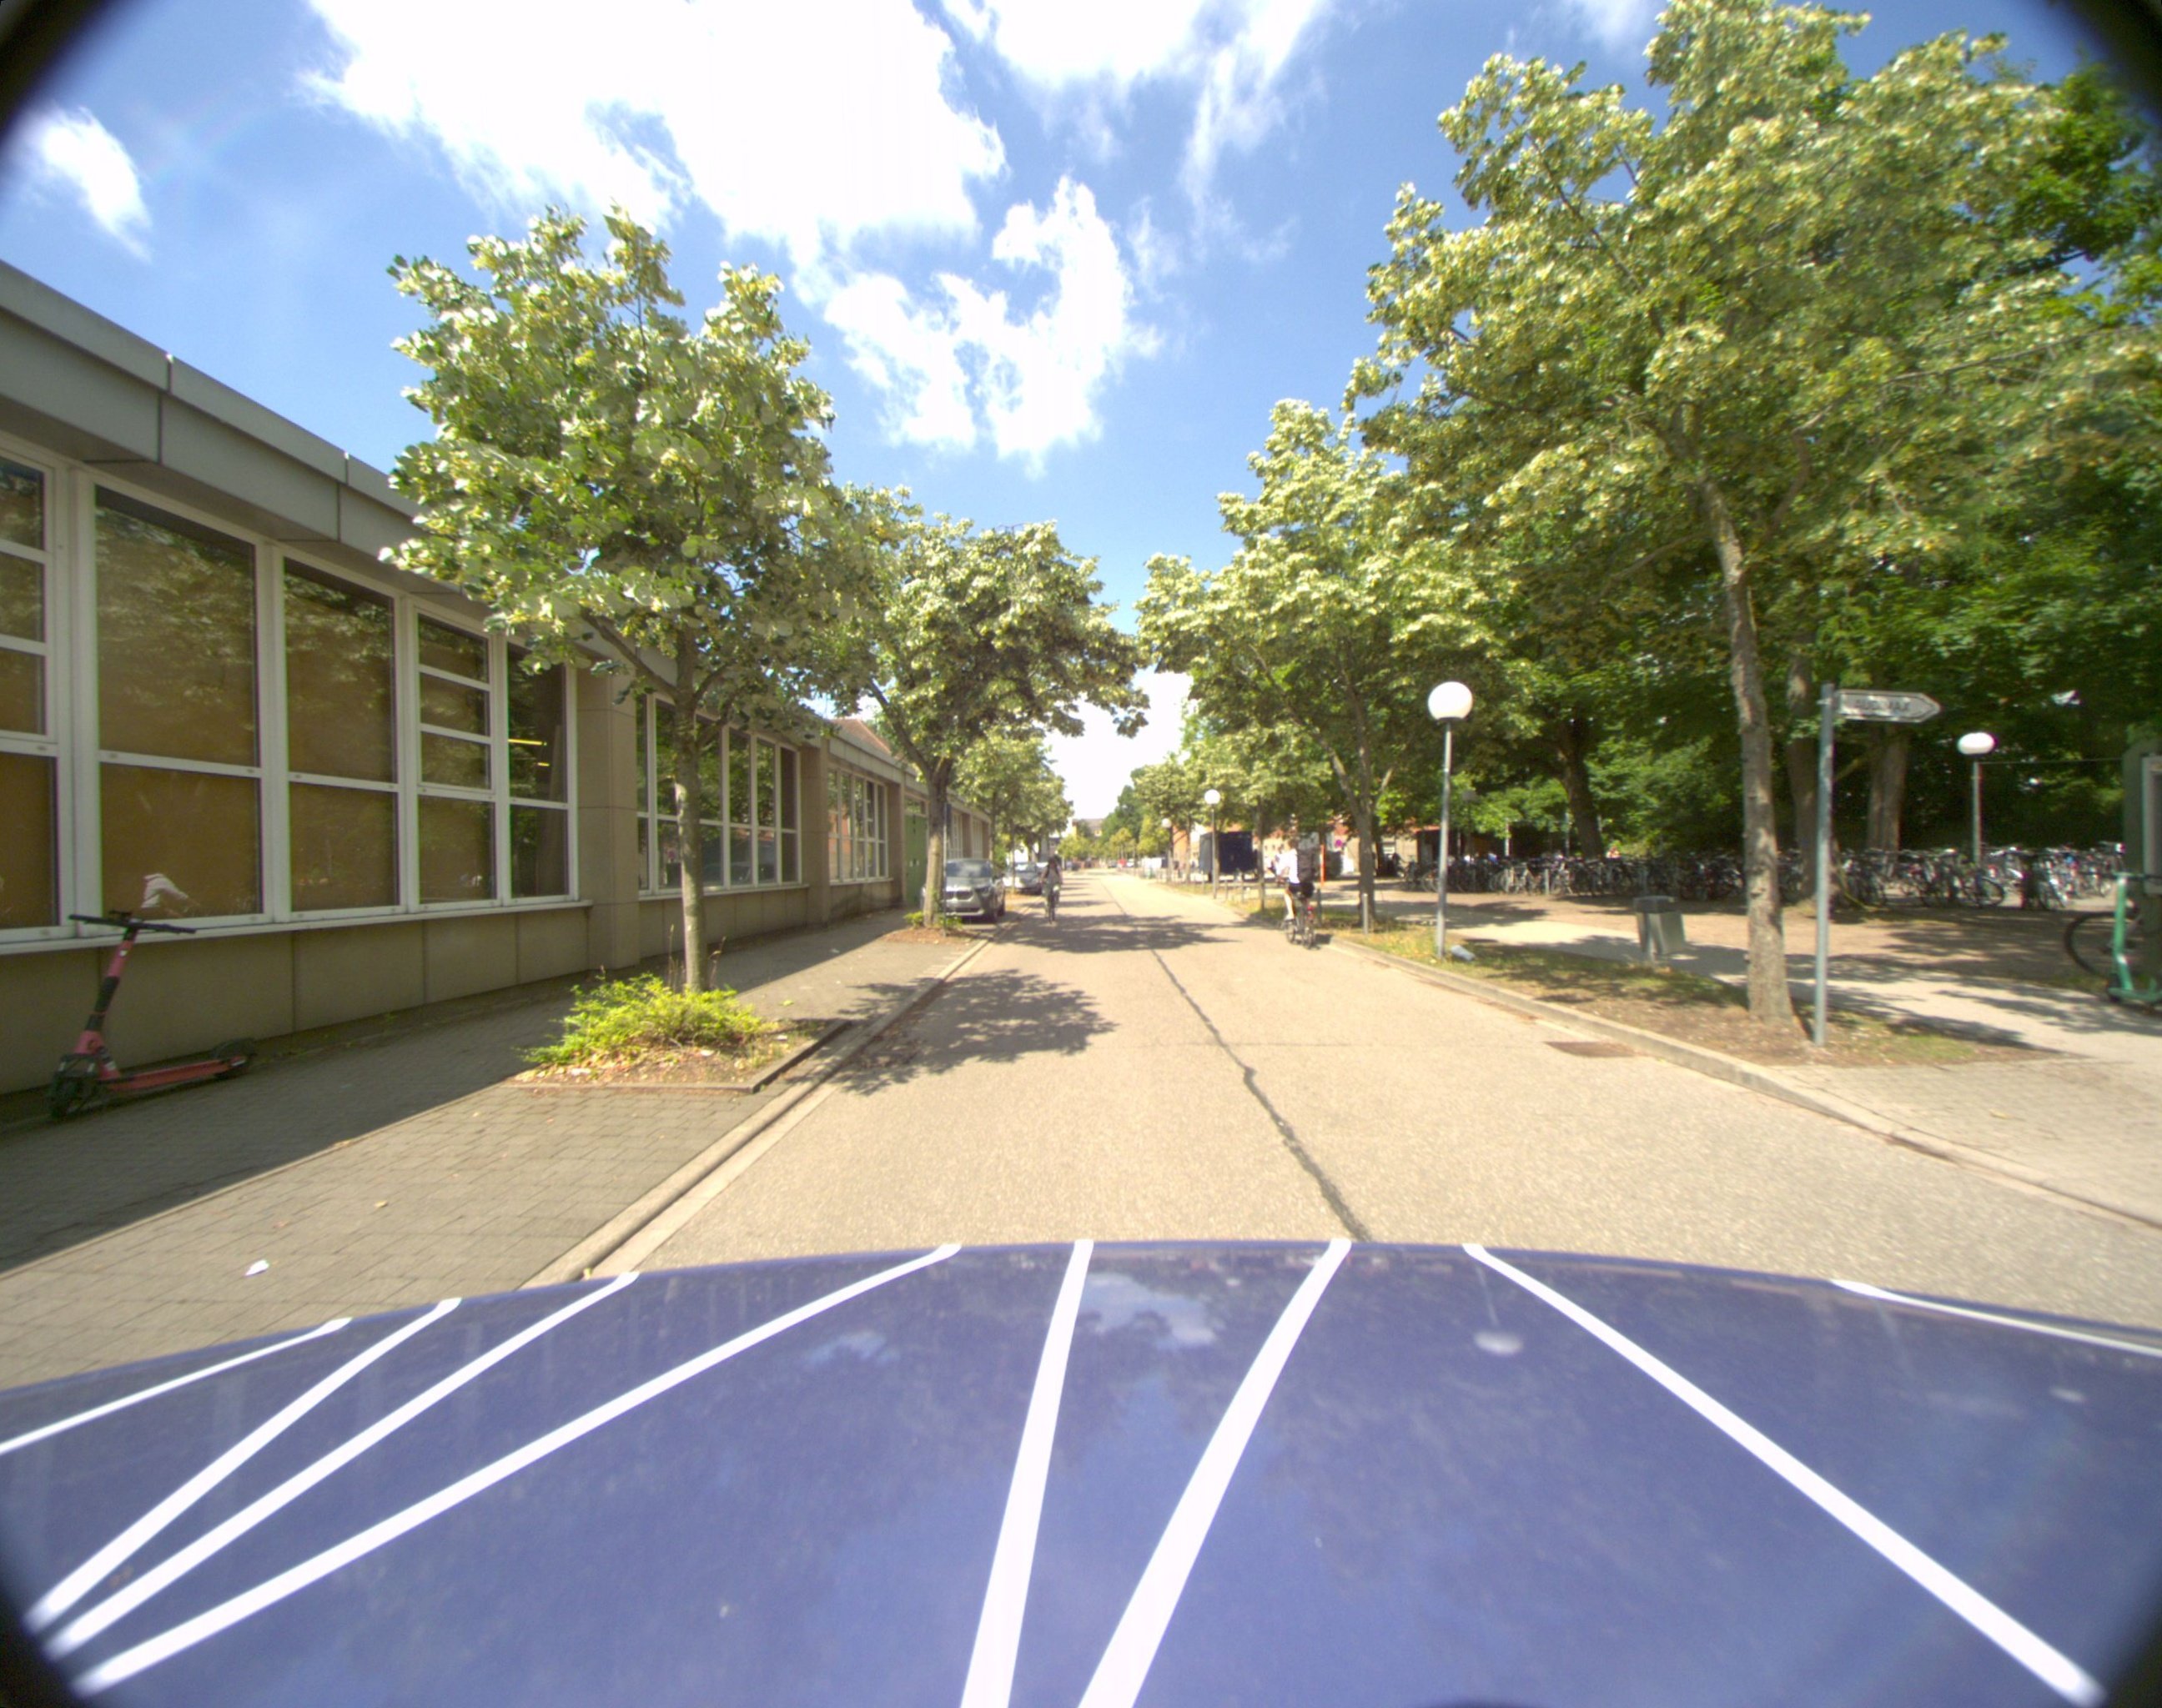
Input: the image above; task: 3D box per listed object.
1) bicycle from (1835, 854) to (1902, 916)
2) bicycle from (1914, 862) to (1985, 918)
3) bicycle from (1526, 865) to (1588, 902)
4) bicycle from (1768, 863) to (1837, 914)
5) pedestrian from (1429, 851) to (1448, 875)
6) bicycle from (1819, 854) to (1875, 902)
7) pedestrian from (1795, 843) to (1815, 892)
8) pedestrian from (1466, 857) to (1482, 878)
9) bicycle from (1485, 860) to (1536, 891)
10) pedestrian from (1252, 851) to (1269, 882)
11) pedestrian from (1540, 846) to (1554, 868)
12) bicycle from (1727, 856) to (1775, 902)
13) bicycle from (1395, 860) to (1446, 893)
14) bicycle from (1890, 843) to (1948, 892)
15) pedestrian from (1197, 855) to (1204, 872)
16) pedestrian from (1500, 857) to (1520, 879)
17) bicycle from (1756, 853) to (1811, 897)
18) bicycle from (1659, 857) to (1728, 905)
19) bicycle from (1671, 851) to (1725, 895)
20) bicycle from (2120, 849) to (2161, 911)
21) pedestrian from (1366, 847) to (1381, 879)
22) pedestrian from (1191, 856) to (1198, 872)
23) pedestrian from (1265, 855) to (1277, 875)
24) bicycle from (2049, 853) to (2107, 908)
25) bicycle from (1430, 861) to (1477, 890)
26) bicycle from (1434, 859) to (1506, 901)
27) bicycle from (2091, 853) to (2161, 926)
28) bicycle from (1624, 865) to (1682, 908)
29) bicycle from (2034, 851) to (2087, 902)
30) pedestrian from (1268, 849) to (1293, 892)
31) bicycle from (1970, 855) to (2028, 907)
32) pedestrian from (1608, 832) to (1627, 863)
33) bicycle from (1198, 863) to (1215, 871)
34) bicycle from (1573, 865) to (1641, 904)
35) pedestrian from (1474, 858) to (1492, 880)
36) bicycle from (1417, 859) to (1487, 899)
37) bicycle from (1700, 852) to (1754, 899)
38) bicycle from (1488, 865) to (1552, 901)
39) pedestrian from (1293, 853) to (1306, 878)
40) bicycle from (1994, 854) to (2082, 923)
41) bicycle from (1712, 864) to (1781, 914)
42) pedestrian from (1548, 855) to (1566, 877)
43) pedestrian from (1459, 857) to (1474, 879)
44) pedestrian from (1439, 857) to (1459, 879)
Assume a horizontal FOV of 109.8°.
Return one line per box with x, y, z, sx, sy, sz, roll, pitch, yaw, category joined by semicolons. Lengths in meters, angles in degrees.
17.217;0.642;16.583;2.914;1.213;0.880;-1;0;-42;bicycle
17.793;0.697;15.593;2.739;0.997;0.880;-1;-1;-42;bicycle
13.831;0.842;22.078;1.895;1.002;0.676;-1;0;-29;bicycle
16.429;0.746;17.268;2.789;1.009;0.880;-1;-1;-42;bicycle
20.965;0.514;44.519;0.596;1.361;0.741;-1;-2;-34;pedestrian
19.820;0.599;19.646;2.064;1.151;0.638;-1;-1;-34;bicycle
24.041;0.436;25.223;0.462;1.605;0.350;-2;0;-35;pedestrian
23.600;0.811;45.596;0.561;1.264;0.693;-2;0;1;pedestrian
16.099;0.810;28.476;1.863;1.083;0.546;-2;0;-20;bicycle
11.482;0.783;48.691;0.919;1.943;0.893;-3;0;10;pedestrian
25.032;0.159;40.822;0.336;1.133;0.506;-2;0;-10;pedestrian
18.694;0.684;21.183;2.063;1.126;0.478;-4;1;-34;bicycle
12.086;0.794;27.030;1.780;1.125;0.458;-2;0;-17;bicycle
20.537;0.318;18.605;2.064;1.125;0.638;-2;-1;-34;bicycle
12.673;1.048;80.588;0.577;1.769;0.917;-1;0;0;pedestrian
23.979;0.775;42.477;0.570;1.243;0.766;-2;0;-11;pedestrian
19.305;0.555;20.865;2.064;1.125;0.638;-1;-1;-34;bicycle
15.356;0.654;19.005;2.757;1.080;0.880;-1;-1;-42;bicycle
18.309;0.554;22.547;2.064;1.227;0.638;-1;-1;-34;bicycle
22.433;0.527;15.950;2.063;1.126;0.638;-4;1;-34;bicycle
17.281;0.531;44.964;0.531;1.837;0.806;-2;0;1;pedestrian
12.007;1.044;80.603;0.564;1.751;0.806;-1;0;0;pedestrian
14.329;0.853;57.251;0.744;1.500;0.499;-2;0;2;pedestrian
21.897;0.559;16.677;2.064;1.125;0.638;-1;-1;-34;bicycle
14.900;0.847;30.394;1.863;1.083;0.546;-2;0;-20;bicycle
12.598;0.826;24.607;2.062;1.227;0.808;-3;0;-17;bicycle
18.927;0.594;13.541;2.714;1.172;0.880;-1;0;-42;bicycle
14.984;0.815;19.856;2.656;1.002;0.676;-1;0;-42;bicycle
23.854;0.532;18.488;2.064;1.125;0.638;-1;-1;-34;bicycle
8.773;0.729;33.409;0.801;1.819;0.987;-2;0;1;pedestrian
21.273;0.602;17.598;2.064;1.125;0.638;-1;-1;-34;bicycle
26.115;-0.310;36.985;0.507;1.513;0.473;-2;0;-10;pedestrian
15.518;1.610;94.055;2.027;1.055;0.663;-1;0;0;bicycle
14.676;0.831;21.198;2.157;1.002;0.676;-1;0;-30;bicycle
24.625;0.906;46.562;0.689;1.315;0.778;-1;0;2;pedestrian
12.419;0.835;25.437;2.062;1.227;0.808;-2;0;-17;bicycle
18.665;0.609;21.945;2.064;1.227;0.638;-2;0;-34;bicycle
13.477;0.883;23.321;2.157;1.002;0.676;-1;0;-29;bicycle
14.607;0.778;50.712;0.632;1.656;0.643;-2;0;2;pedestrian
18.453;0.618;14.707;2.889;1.171;0.880;-1;-1;-42;bicycle
15.901;0.799;18.117;2.839;1.044;0.880;-1;-1;-42;bicycle
25.204;0.631;40.214;0.392;1.187;0.730;-2;0;-9;pedestrian
23.625;0.855;46.569;0.561;1.264;0.693;-2;0;1;pedestrian
21.148;0.784;43.668;0.596;1.226;0.741;-1;-2;-34;pedestrian
